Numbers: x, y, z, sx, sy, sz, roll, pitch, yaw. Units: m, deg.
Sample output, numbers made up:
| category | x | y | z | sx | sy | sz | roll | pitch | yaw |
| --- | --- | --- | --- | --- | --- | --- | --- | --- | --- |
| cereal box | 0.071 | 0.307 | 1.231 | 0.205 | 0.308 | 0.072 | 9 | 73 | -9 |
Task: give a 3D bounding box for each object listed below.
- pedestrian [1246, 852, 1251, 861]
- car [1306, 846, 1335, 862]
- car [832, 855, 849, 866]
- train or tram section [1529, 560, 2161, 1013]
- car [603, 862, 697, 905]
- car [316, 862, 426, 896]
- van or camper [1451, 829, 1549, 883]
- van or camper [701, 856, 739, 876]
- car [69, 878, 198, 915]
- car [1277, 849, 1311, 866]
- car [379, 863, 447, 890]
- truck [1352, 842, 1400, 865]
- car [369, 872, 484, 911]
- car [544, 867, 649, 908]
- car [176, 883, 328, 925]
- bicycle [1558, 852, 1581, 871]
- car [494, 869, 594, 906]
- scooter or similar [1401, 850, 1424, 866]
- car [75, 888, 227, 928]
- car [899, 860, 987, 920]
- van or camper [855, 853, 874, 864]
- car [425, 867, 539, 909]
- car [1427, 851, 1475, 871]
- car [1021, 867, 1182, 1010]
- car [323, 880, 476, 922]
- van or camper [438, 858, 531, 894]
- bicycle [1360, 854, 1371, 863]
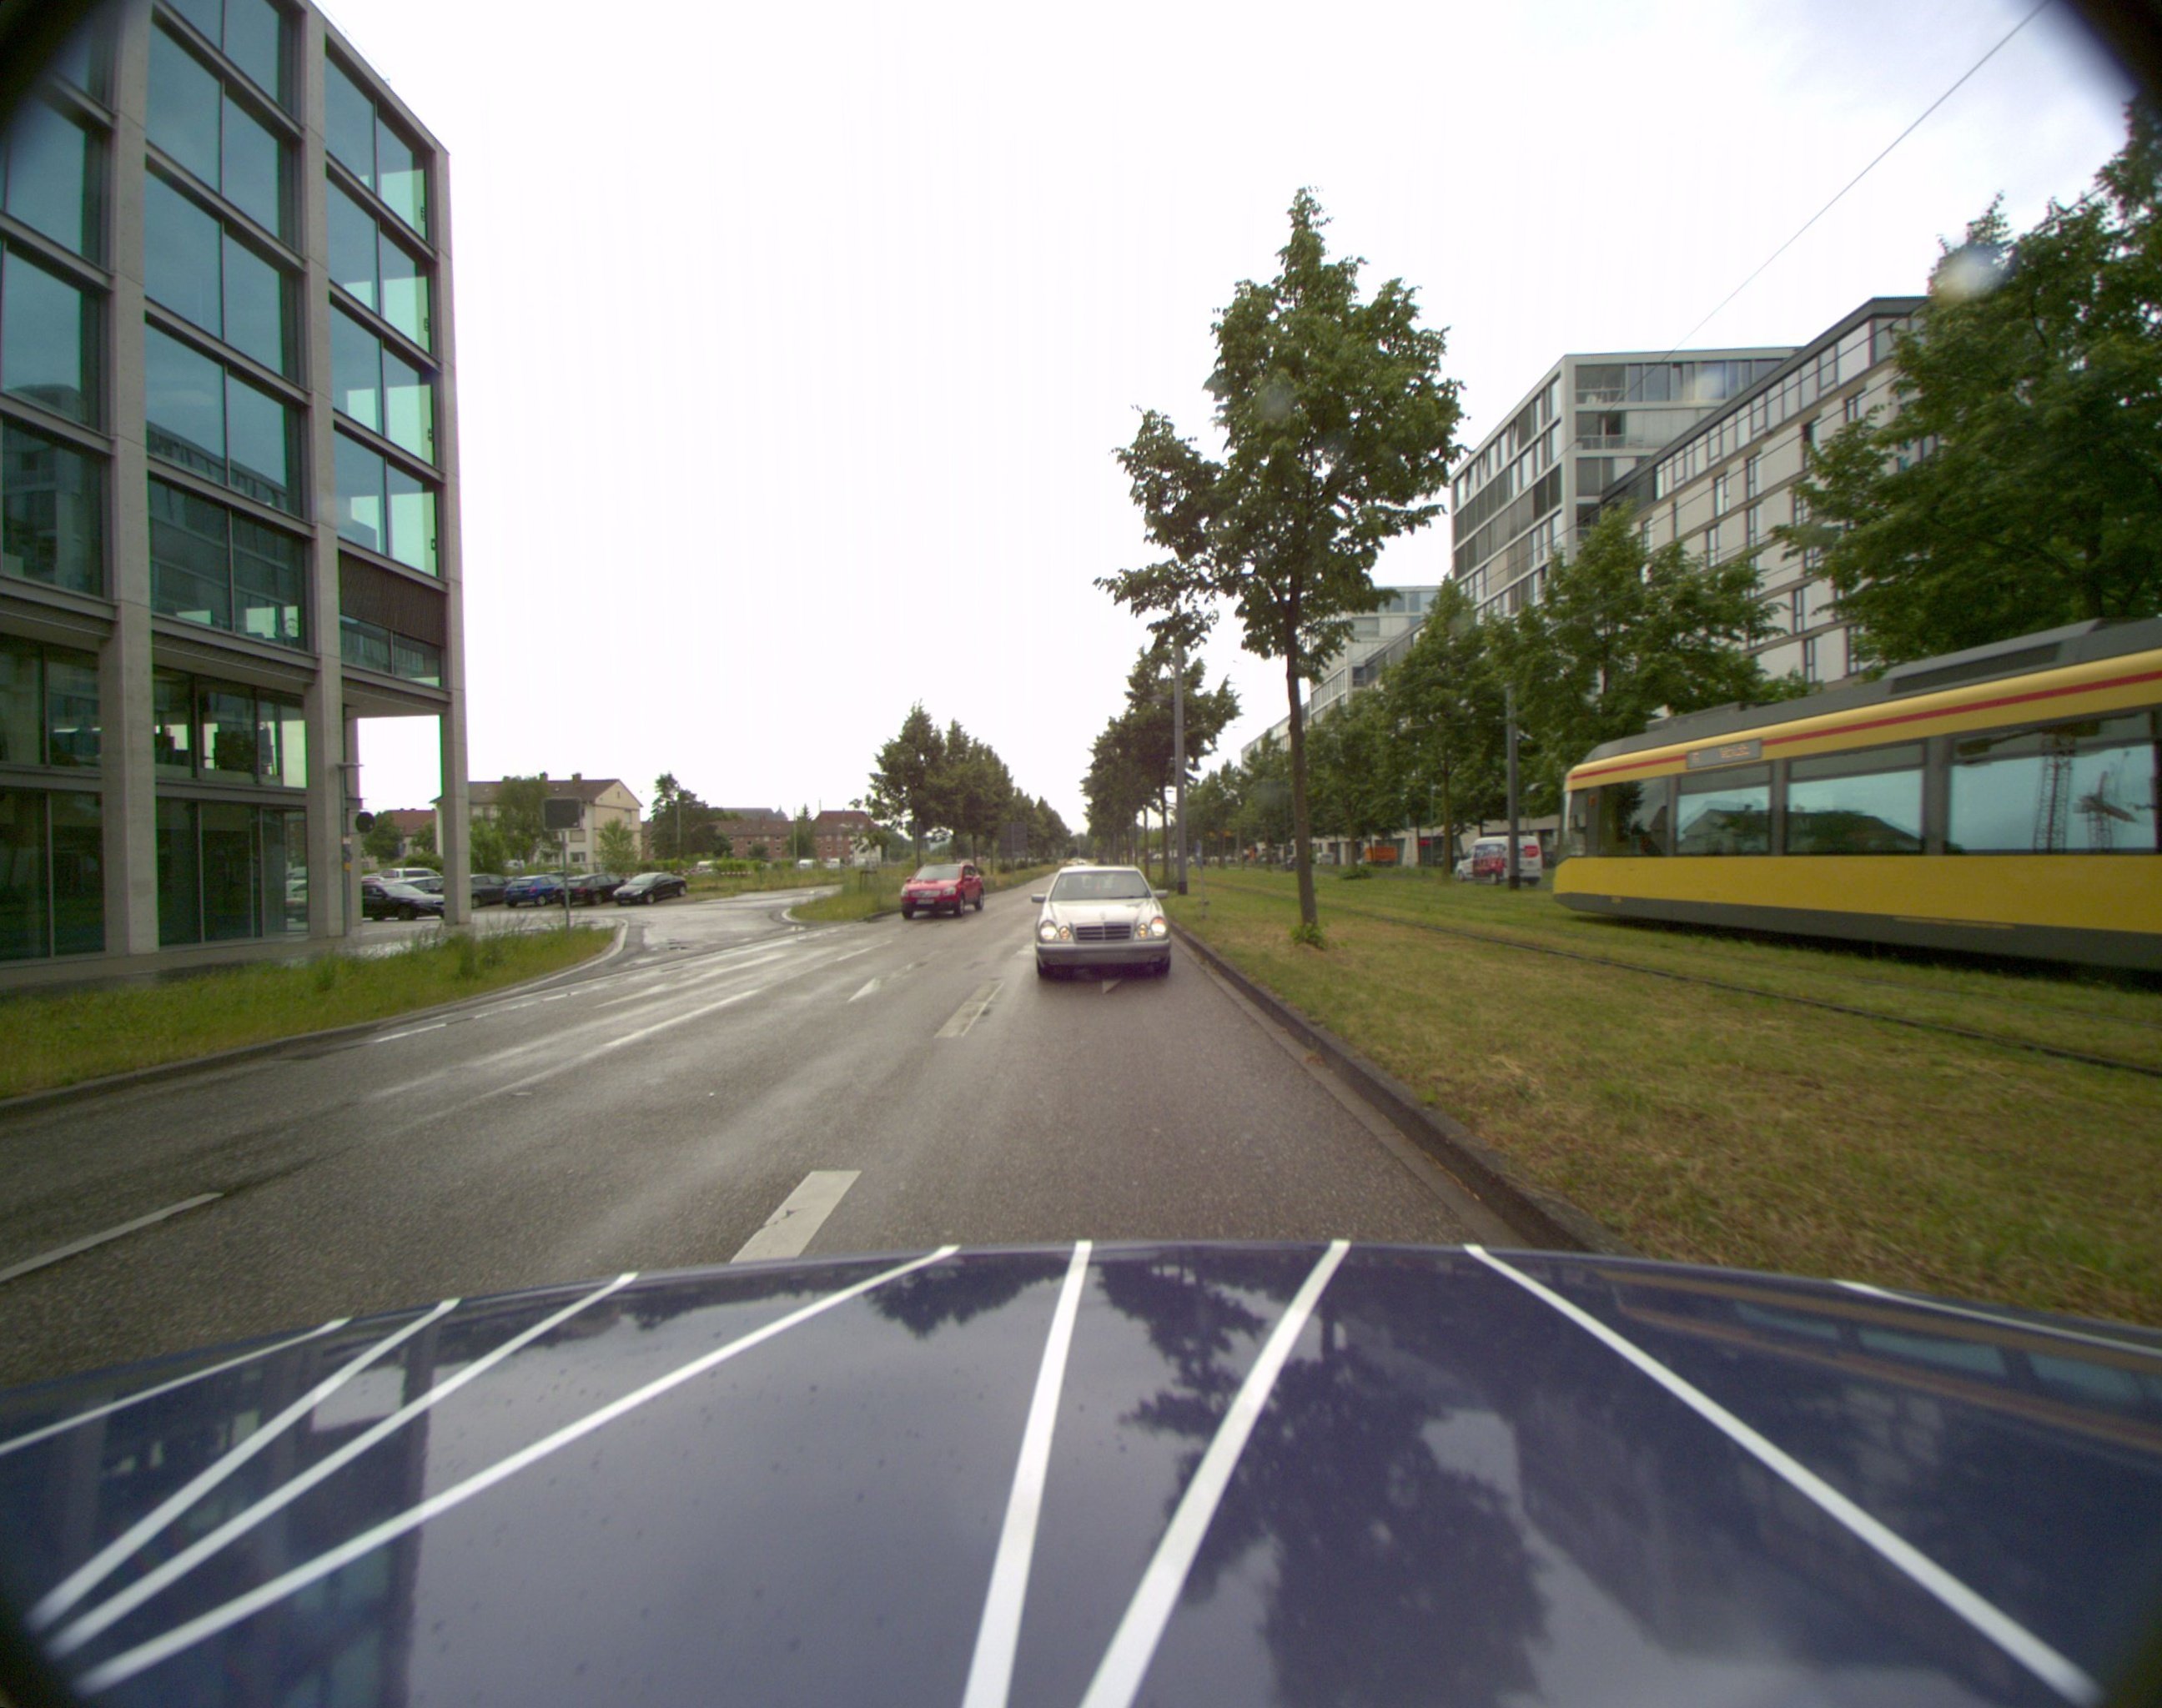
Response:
| category | x | y | z | sx | sy | sz | roll | pitch | yaw |
| --- | --- | --- | --- | --- | --- | --- | --- | --- | --- |
| pedestrian | 31.232 | 0.469 | 141.488 | 0.712 | 1.681 | 0.793 | -2 | 0 | 3 |
| car | 29.978 | 0.023 | 95.120 | 1.998 | 1.841 | 5.164 | -1 | 0 | 0 |
| car | -51.778 | 1.393 | 163.436 | 2.278 | 2.207 | 4.758 | -2 | 0 | -3 |
| train or tram section | 10.285 | -0.577 | 8.119 | 3.137 | 3.637 | 13.406 | -2 | 0 | 1 |
| car | -21.161 | 1.394 | 37.536 | 1.858 | 1.573 | 3.999 | -2 | 5 | 8 |
| car | -37.758 | 1.290 | 40.568 | 1.859 | 1.592 | 4.002 | -2 | 0 | 6 |
| van or camper | 20.452 | 0.094 | 37.386 | 1.914 | 2.396 | 5.402 | -1 | 0 | 1 |
| van or camper | -49.717 | 1.632 | 104.925 | 2.314 | 2.673 | 6.395 | -1 | 0 | -2 |
| car | -51.511 | 2.268 | 41.453 | 1.860 | 1.488 | 4.029 | -2 | 4 | -2 |
| car | 19.290 | 0.301 | 68.912 | 1.867 | 1.515 | 4.479 | -1 | 0 | 1 |
| car | -54.184 | 1.772 | 61.700 | 1.700 | 1.994 | 4.165 | -1 | 0 | 2 |
| truck | 30.311 | -0.057 | 78.314 | 2.432 | 2.278 | 6.309 | -1 | 0 | 1 |
| car | -32.817 | 1.848 | 38.272 | 1.789 | 1.467 | 4.229 | -2 | 4 | 6 |
| car | -23.963 | 1.594 | 37.797 | 1.859 | 1.447 | 4.555 | -2 | 5 | 6 |
| car | -31.742 | 1.902 | 29.159 | 3.995 | 1.479 | 1.862 | -1 | -2 | 4 |
| bicycle | 38.829 | 0.565 | 60.359 | 1.435 | 1.474 | 0.546 | -2 | 1 | 0 |
| car | -26.926 | 1.645 | 38.299 | 1.859 | 1.447 | 4.000 | -2 | 3 | 6 |
| scooter or similar | 36.915 | 0.441 | 84.703 | 2.130 | 1.814 | 0.885 | -2 | 1 | -3 |
| car | -36.260 | 2.092 | 29.693 | 3.995 | 1.364 | 1.862 | -2 | -1 | 6 |
| car | -4.183 | 1.051 | 23.771 | 1.799 | 1.603 | 4.246 | -2 | 0 | 2 |
| van or camper | -45.195 | 0.915 | 158.978 | 2.208 | 2.294 | 6.147 | -3 | 0 | -2 |
| car | -30.156 | 1.681 | 38.430 | 1.859 | 1.593 | 4.415 | -2 | 4 | 6 |
| car | 29.275 | 0.536 | 60.216 | 1.859 | 1.456 | 3.988 | -1 | 0 | 0 |
| car | 0.230 | 0.967 | 10.684 | 1.738 | 1.451 | 4.607 | -2 | 0 | 0 |
| car | -25.724 | 1.770 | 28.756 | 4.227 | 1.429 | 1.982 | -2 | -2 | 6 |
| van or camper | -54.245 | 1.946 | 69.351 | 2.914 | 2.976 | 6.777 | -1 | 0 | 1 |
| bicycle | 27.929 | 0.436 | 74.610 | 0.600 | 0.939 | 1.757 | -1 | 0 | 4 |
